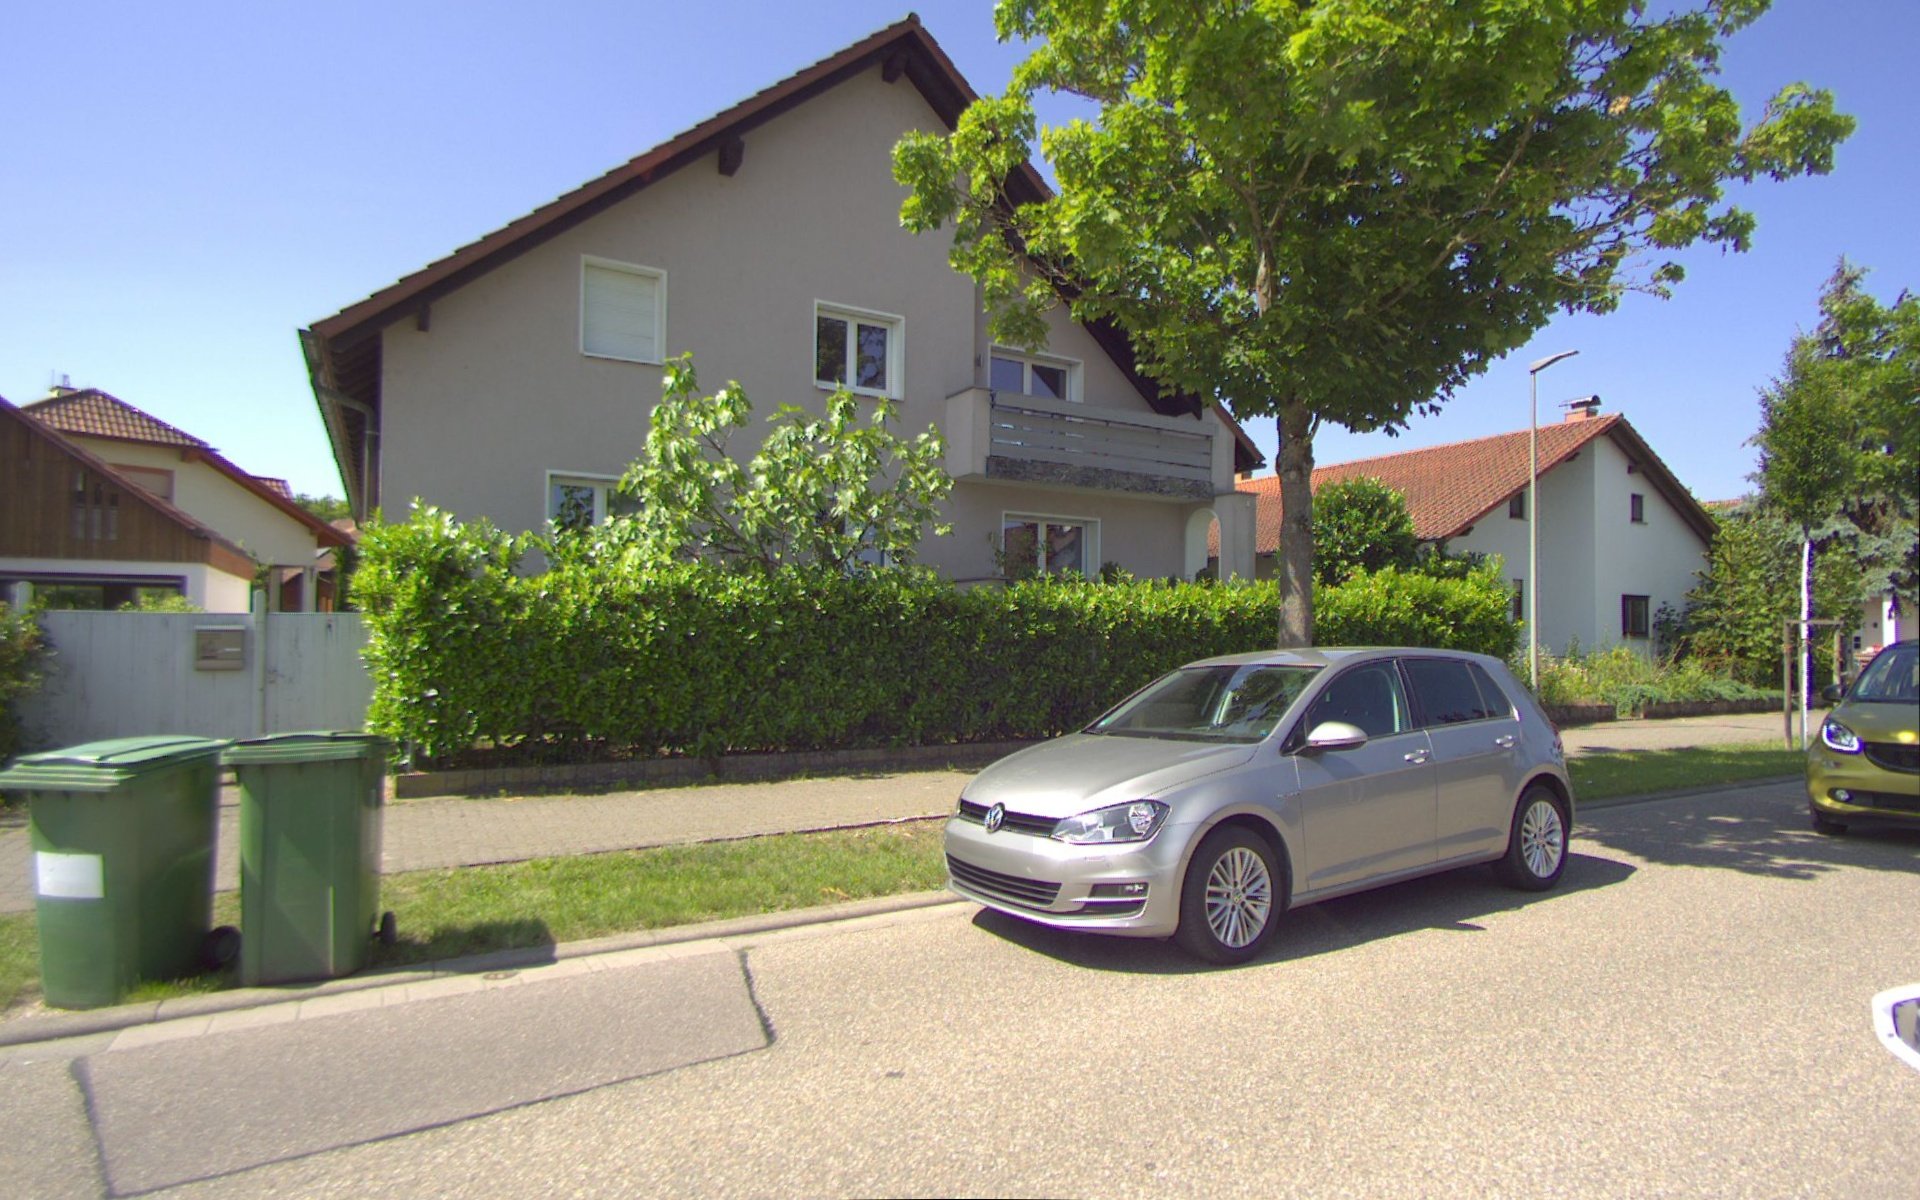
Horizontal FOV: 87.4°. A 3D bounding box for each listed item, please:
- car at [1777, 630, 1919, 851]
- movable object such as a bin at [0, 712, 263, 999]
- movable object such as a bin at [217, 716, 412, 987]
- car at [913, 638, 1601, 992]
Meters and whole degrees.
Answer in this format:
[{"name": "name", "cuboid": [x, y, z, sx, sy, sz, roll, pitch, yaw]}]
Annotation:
[{"name": "car", "cuboid": [8.178, 1.036, 7.973, 3.406, 1.544, 1.656, 2, -3, -33]}, {"name": "movable object such as a bin", "cuboid": [-3.665, 1.072, 4.433, 0.627, 1.093, 0.716, 1, -2, 3]}, {"name": "movable object such as a bin", "cuboid": [-2.939, 1.108, 4.629, 0.589, 1.093, 0.575, 1, -2, -17]}, {"name": "car", "cuboid": [1.872, 0.991, 5.930, 4.035, 1.442, 1.638, 2, -4, -32]}]
